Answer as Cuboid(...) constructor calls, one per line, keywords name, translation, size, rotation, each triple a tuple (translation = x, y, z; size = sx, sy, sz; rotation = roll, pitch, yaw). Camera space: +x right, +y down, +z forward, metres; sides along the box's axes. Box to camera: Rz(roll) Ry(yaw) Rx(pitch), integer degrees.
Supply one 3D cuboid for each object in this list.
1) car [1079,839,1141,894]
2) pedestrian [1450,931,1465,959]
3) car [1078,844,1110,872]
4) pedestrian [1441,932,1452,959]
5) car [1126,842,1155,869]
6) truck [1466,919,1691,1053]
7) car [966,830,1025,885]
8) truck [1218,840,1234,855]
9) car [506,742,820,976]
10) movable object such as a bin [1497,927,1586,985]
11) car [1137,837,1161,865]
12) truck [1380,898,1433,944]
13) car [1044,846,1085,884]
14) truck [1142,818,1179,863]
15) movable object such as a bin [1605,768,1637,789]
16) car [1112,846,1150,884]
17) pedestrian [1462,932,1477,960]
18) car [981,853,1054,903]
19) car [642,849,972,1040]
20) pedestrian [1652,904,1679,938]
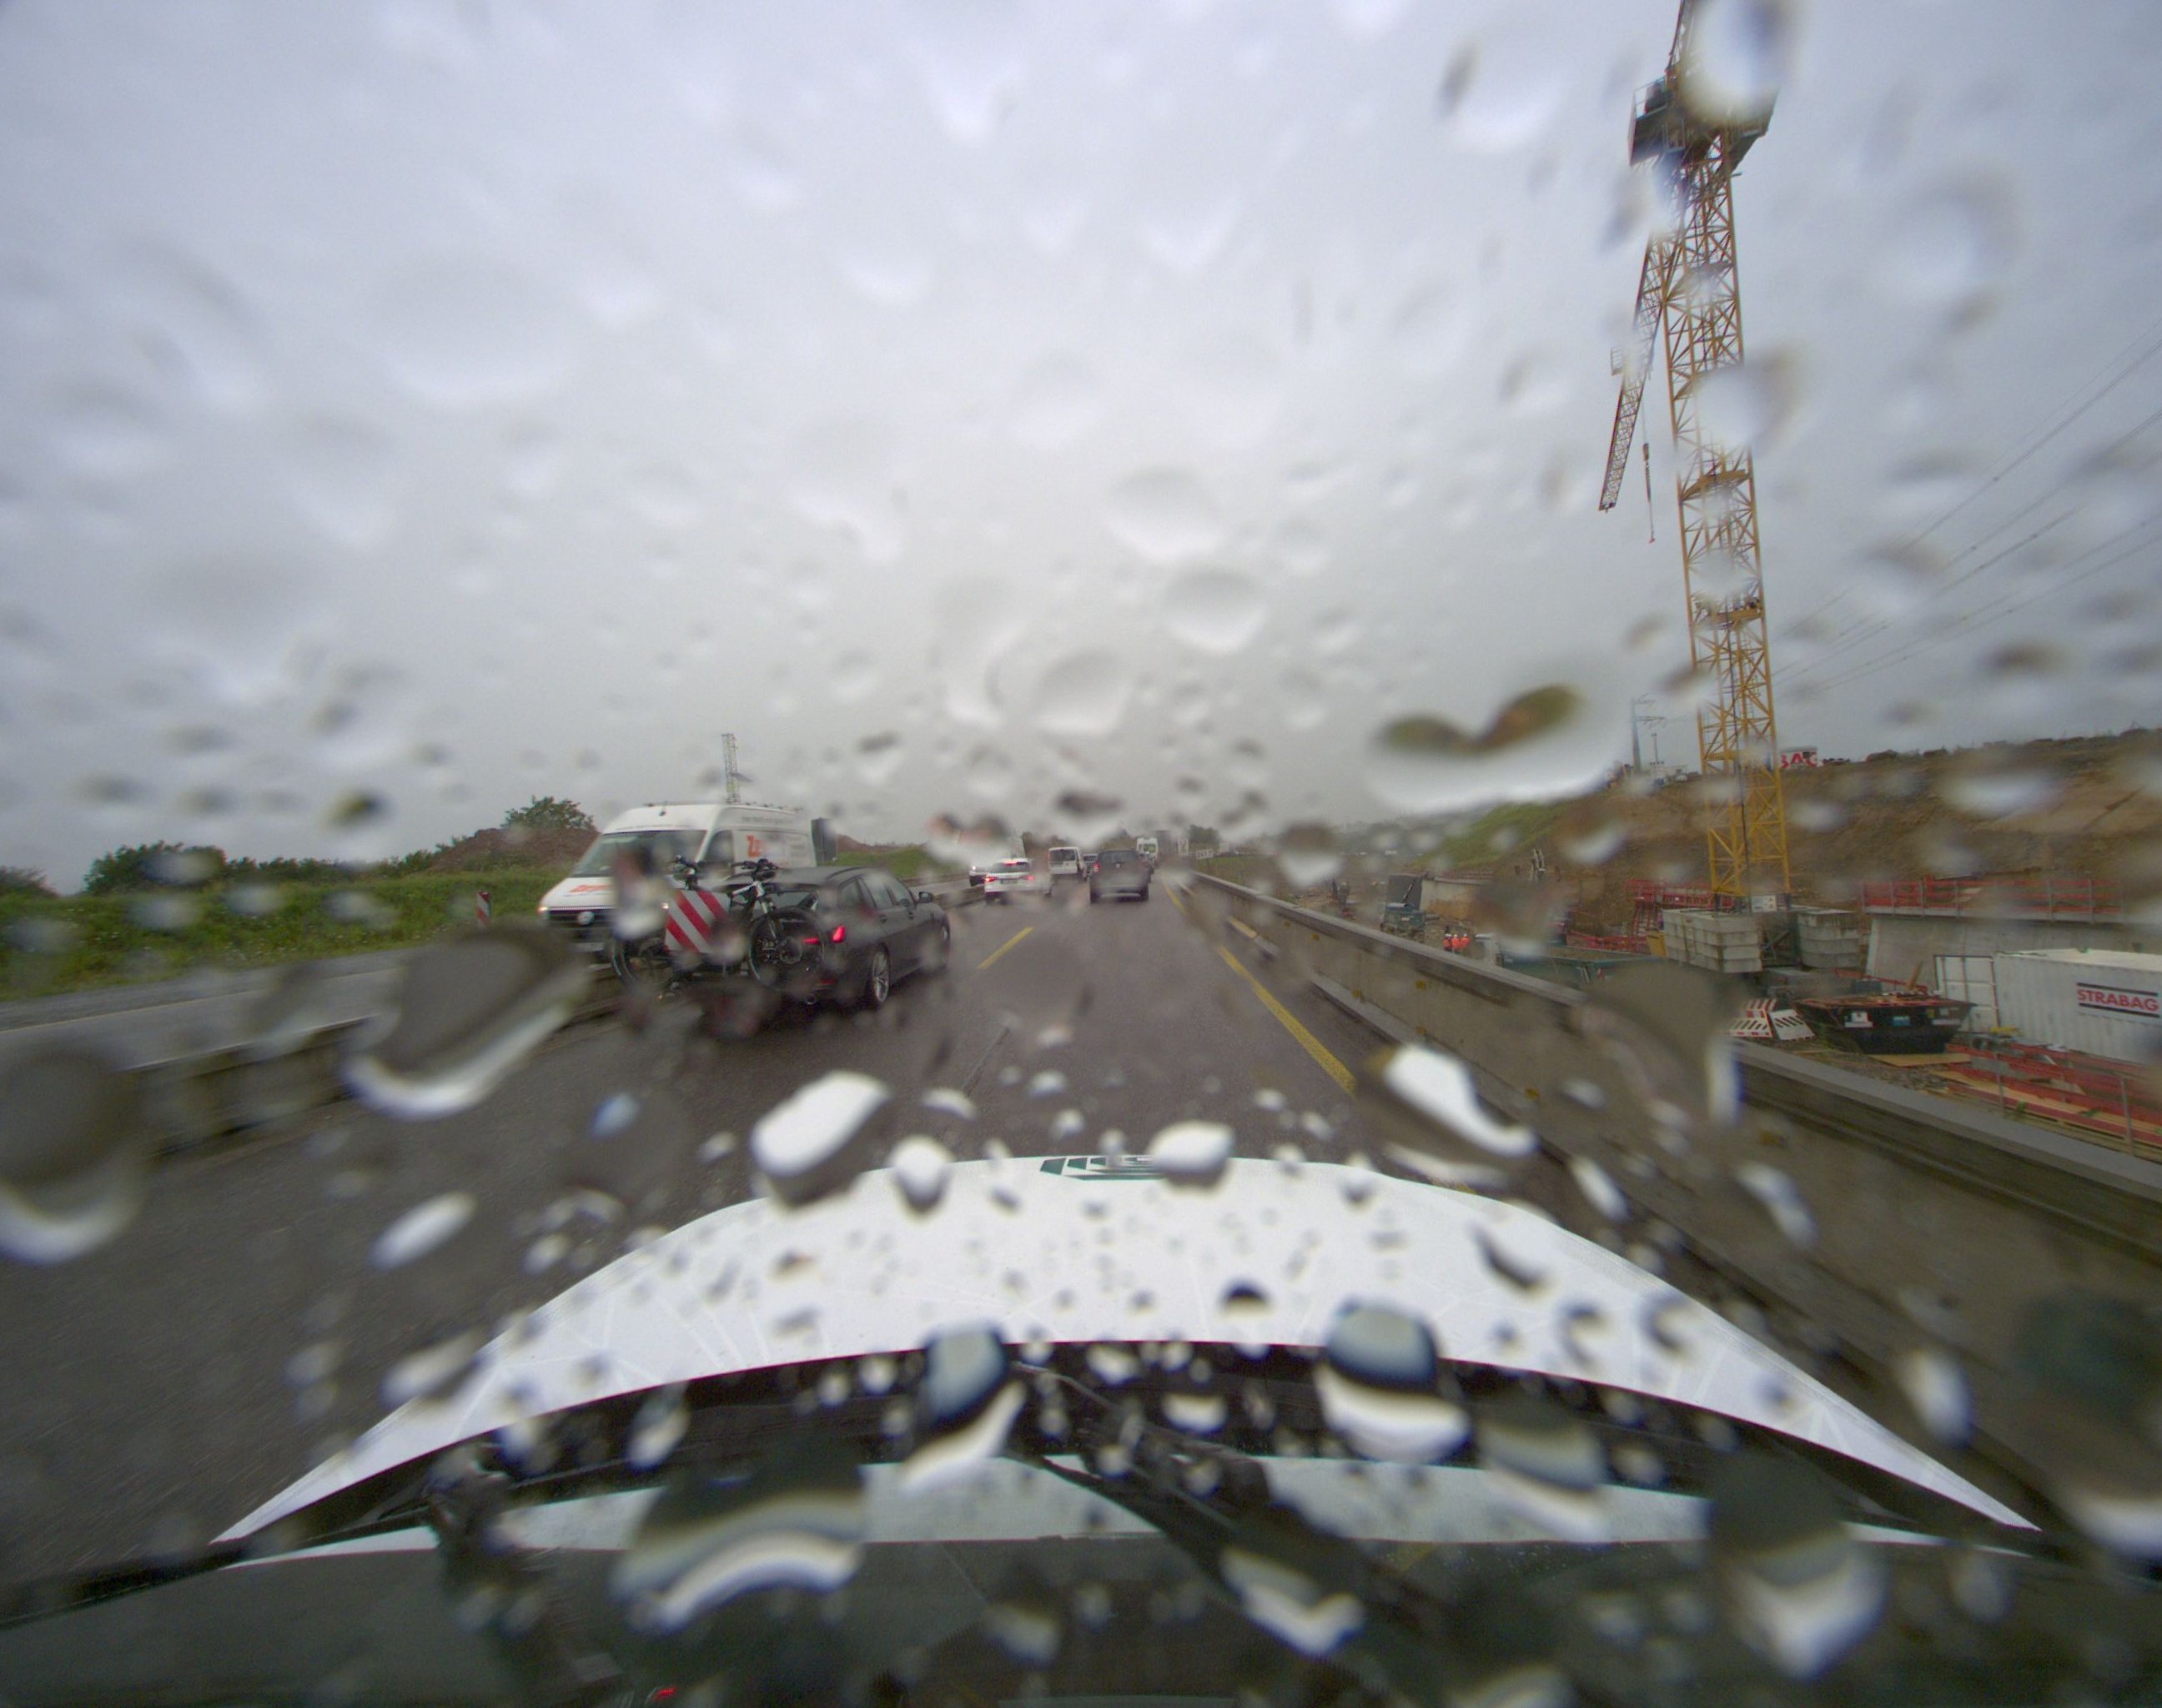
Cuboid(name="car", translation=(1.010, 0.403, 26.122), size=(1.818, 1.591, 4.004), rotation=(-1, -1, 4))
Cuboid(name="pedestrian", translation=(27.080, 6.553, 58.568), size=(0.576, 1.944, 0.730), rotation=(-1, -1, -23))
Cuboid(name="car", translation=(0.929, 0.264, 56.114), size=(1.817, 1.815, 4.006), rotation=(-1, -1, 5))
Cuboid(name="pedestrian", translation=(26.647, 6.668, 59.359), size=(0.569, 1.869, 0.737), rotation=(-1, -1, 12))
Cuboid(name="car", translation=(4.263, 0.118, 57.840), size=(1.816, 1.815, 4.008), rotation=(-1, -1, 8))
Cuboid(name="truck", translation=(17.681, 4.488, 29.937), size=(2.691, 3.503, 8.944), rotation=(-1, -1, 0))
Cuboid(name="car", translation=(-4.278, 0.129, 41.776), size=(2.016, 2.548, 5.963), rotation=(-2, 0, 3))
Cuboid(name="truck", translation=(39.191, -1.786, 219.471), size=(3.447, 3.715, 8.450), rotation=(-2, 0, 14))
Cuboid(name="car", translation=(-6.382, 0.054, 13.504), size=(1.986, 3.013, 5.783), rotation=(-1, 0, 2))
Cuboid(name="movable object such as a bin", translation=(24.314, 5.351, 43.121), size=(3.134, 2.738, 2.973), rotation=(-1, -1, 5))
Cuboid(name="car", translation=(6.341, -0.233, 75.499), size=(1.815, 2.437, 4.169), rotation=(-1, -1, 9))
Cuboid(name="truck", translation=(29.620, 6.017, 74.555), size=(2.713, 3.491, 9.090), rotation=(-1, -1, 10))
Cuboid(name="car", translation=(-0.776, 0.571, 41.323), size=(1.819, 1.815, 4.001), rotation=(-1, -1, 2))
Cuboid(name="truck", translation=(9.767, -1.454, 98.703), size=(3.521, 5.077, 10.472), rotation=(-1, -1, 11))
Cuboid(name="movable object such as a bin", translation=(72.039, -10.047, 108.718), size=(2.412, 2.443, 3.983), rotation=(-1, 1, 13))
Cuboid(name="car", translation=(2.570, 0.551, 41.285), size=(1.818, 1.815, 4.005), rotation=(-1, -1, 4))
Cuboid(name="pedestrian", translation=(27.651, 6.537, 57.961), size=(0.726, 1.944, 0.579), rotation=(-2, -1, 43))
Cuboid(name="car", translation=(-2.009, 0.757, 26.796), size=(1.818, 1.499, 4.003), rotation=(-1, -1, 3))
Cuboid(name="car", translation=(-2.698, 0.759, 9.706), size=(1.727, 1.462, 5.634), rotation=(-1, 1, 3))
Cuboid(name="pedestrian", translation=(38.142, 4.362, 53.183), size=(0.897, 1.999, 0.901), rotation=(9, 0, 10))
